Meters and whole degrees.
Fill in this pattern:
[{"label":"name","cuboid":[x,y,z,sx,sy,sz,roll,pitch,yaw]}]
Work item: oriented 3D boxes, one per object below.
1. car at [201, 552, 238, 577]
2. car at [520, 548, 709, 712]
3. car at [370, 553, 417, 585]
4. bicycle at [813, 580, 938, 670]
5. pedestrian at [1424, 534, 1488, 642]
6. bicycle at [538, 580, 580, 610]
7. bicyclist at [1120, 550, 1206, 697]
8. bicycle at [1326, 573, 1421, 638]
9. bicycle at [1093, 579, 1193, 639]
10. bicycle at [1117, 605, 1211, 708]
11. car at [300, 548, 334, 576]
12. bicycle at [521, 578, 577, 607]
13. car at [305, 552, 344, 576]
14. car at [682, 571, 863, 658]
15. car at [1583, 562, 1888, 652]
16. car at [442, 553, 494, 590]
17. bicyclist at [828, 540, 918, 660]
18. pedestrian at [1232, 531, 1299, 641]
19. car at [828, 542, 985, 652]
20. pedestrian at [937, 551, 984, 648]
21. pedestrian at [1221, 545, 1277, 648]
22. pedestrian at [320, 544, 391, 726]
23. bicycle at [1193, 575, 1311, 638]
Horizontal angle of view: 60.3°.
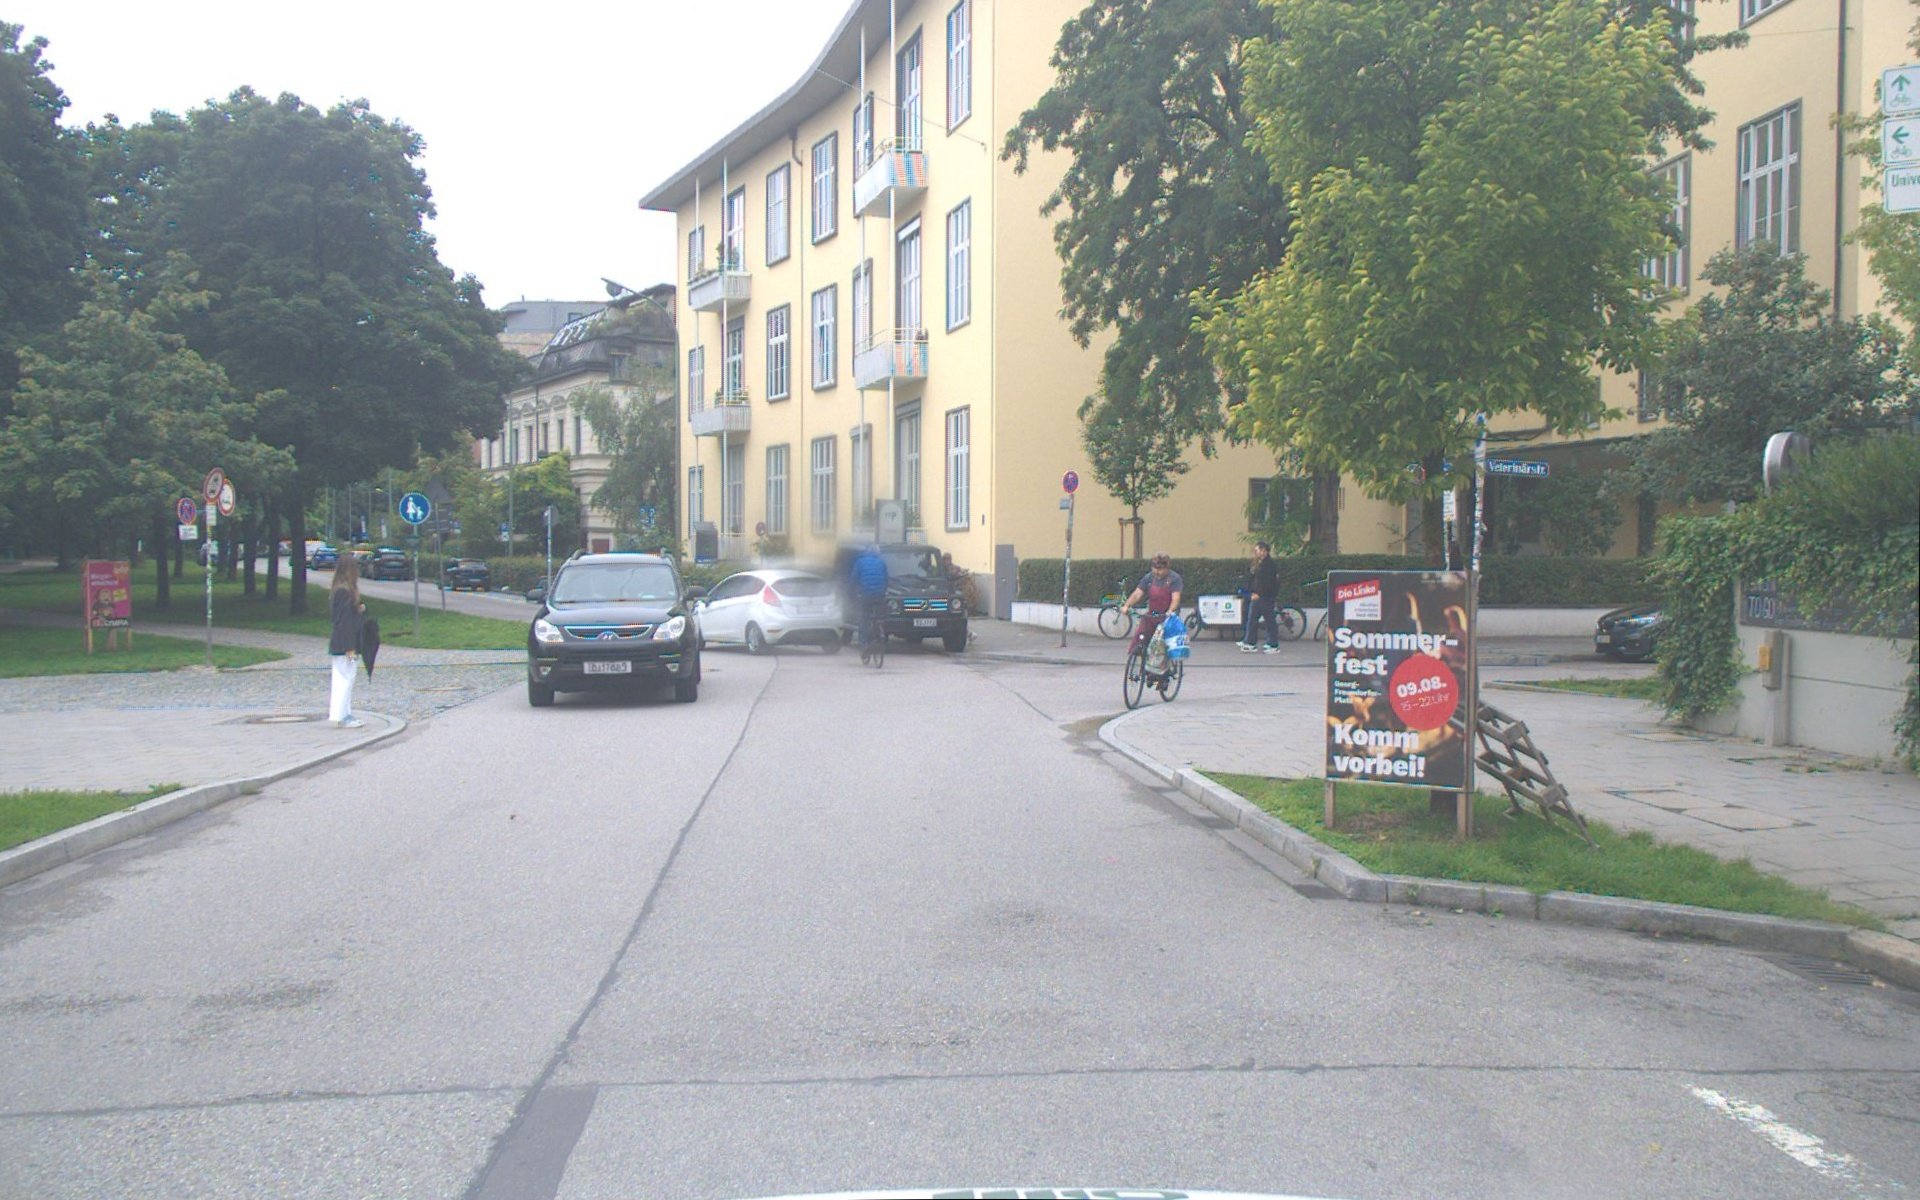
[{"label":"car","cuboid":[-50.050,-2.411,111.780,1.971,1.628,4.427,-1,2,-28]},{"label":"car","cuboid":[-4.080,0.251,20.208,1.956,1.749,4.607,-1,2,-8]},{"label":"car","cuboid":[-31.321,-1.712,91.390,1.773,1.709,3.962,-1,2,-29]},{"label":"bicycle","cuboid":[-1.337,0.350,25.556,0.912,1.274,2.295,-1,2,-33]},{"label":"pedestrian","cuboid":[8.868,-0.224,29.583,0.833,1.890,0.766,-2,1,-5]},{"label":"bicycle","cuboid":[-14.843,-0.194,61.269,1.527,1.032,0.403,-3,3,-45]},{"label":"bicyclist","cuboid":[2.346,0.248,19.072,0.856,1.637,1.050,0,2,14]},{"label":"bicycle","cuboid":[7.582,0.098,30.350,1.649,1.150,0.460,-1,1,-5]},{"label":"bicycle","cuboid":[3.500,0.185,31.790,1.913,1.103,0.526,-2,0,39]},{"label":"bicycle","cuboid":[2.395,0.621,19.219,0.857,1.037,2.193,0,2,13]},{"label":"car","cuboid":[-47.899,-2.830,123.171,2.040,2.000,4.938,-1,2,-25]},{"label":"bicycle","cuboid":[-15.160,-0.271,60.994,1.961,1.046,0.610,-1,1,-42]},{"label":"car","cuboid":[-44.148,-2.531,114.914,1.972,1.628,4.214,-1,2,-29]},{"label":"car","cuboid":[-3.444,0.204,29.851,1.733,1.430,3.682,-1,2,-35]},{"label":"car","cuboid":[12.629,0.123,27.088,4.233,1.391,1.661,-1,-1,-3]},{"label":"car","cuboid":[-21.964,-1.309,73.783,1.627,1.585,3.530,-1,2,-26]},{"label":"bicyclist","cuboid":[-1.355,-0.025,25.590,0.906,1.794,1.201,-1,2,-33]},{"label":"pedestrian","cuboid":[5.188,-0.246,28.087,0.970,1.840,0.659,-1,1,-5]},{"label":"car","cuboid":[-1.113,-0.129,31.500,1.844,1.920,4.597,-1,2,-17]},{"label":"pedestrian","cuboid":[0.000,-0.025,31.379,0.831,1.788,0.953,-1,2,-2]},{"label":"pedestrian","cuboid":[5.085,-0.070,29.131,0.810,1.776,0.740,-1,1,-5]},{"label":"pedestrian","cuboid":[-5.947,0.328,16.286,0.533,1.726,0.664,-2,2,-16]},{"label":"bicycle","cuboid":[5.424,0.115,30.677,2.121,1.135,0.641,0,2,12]}]
